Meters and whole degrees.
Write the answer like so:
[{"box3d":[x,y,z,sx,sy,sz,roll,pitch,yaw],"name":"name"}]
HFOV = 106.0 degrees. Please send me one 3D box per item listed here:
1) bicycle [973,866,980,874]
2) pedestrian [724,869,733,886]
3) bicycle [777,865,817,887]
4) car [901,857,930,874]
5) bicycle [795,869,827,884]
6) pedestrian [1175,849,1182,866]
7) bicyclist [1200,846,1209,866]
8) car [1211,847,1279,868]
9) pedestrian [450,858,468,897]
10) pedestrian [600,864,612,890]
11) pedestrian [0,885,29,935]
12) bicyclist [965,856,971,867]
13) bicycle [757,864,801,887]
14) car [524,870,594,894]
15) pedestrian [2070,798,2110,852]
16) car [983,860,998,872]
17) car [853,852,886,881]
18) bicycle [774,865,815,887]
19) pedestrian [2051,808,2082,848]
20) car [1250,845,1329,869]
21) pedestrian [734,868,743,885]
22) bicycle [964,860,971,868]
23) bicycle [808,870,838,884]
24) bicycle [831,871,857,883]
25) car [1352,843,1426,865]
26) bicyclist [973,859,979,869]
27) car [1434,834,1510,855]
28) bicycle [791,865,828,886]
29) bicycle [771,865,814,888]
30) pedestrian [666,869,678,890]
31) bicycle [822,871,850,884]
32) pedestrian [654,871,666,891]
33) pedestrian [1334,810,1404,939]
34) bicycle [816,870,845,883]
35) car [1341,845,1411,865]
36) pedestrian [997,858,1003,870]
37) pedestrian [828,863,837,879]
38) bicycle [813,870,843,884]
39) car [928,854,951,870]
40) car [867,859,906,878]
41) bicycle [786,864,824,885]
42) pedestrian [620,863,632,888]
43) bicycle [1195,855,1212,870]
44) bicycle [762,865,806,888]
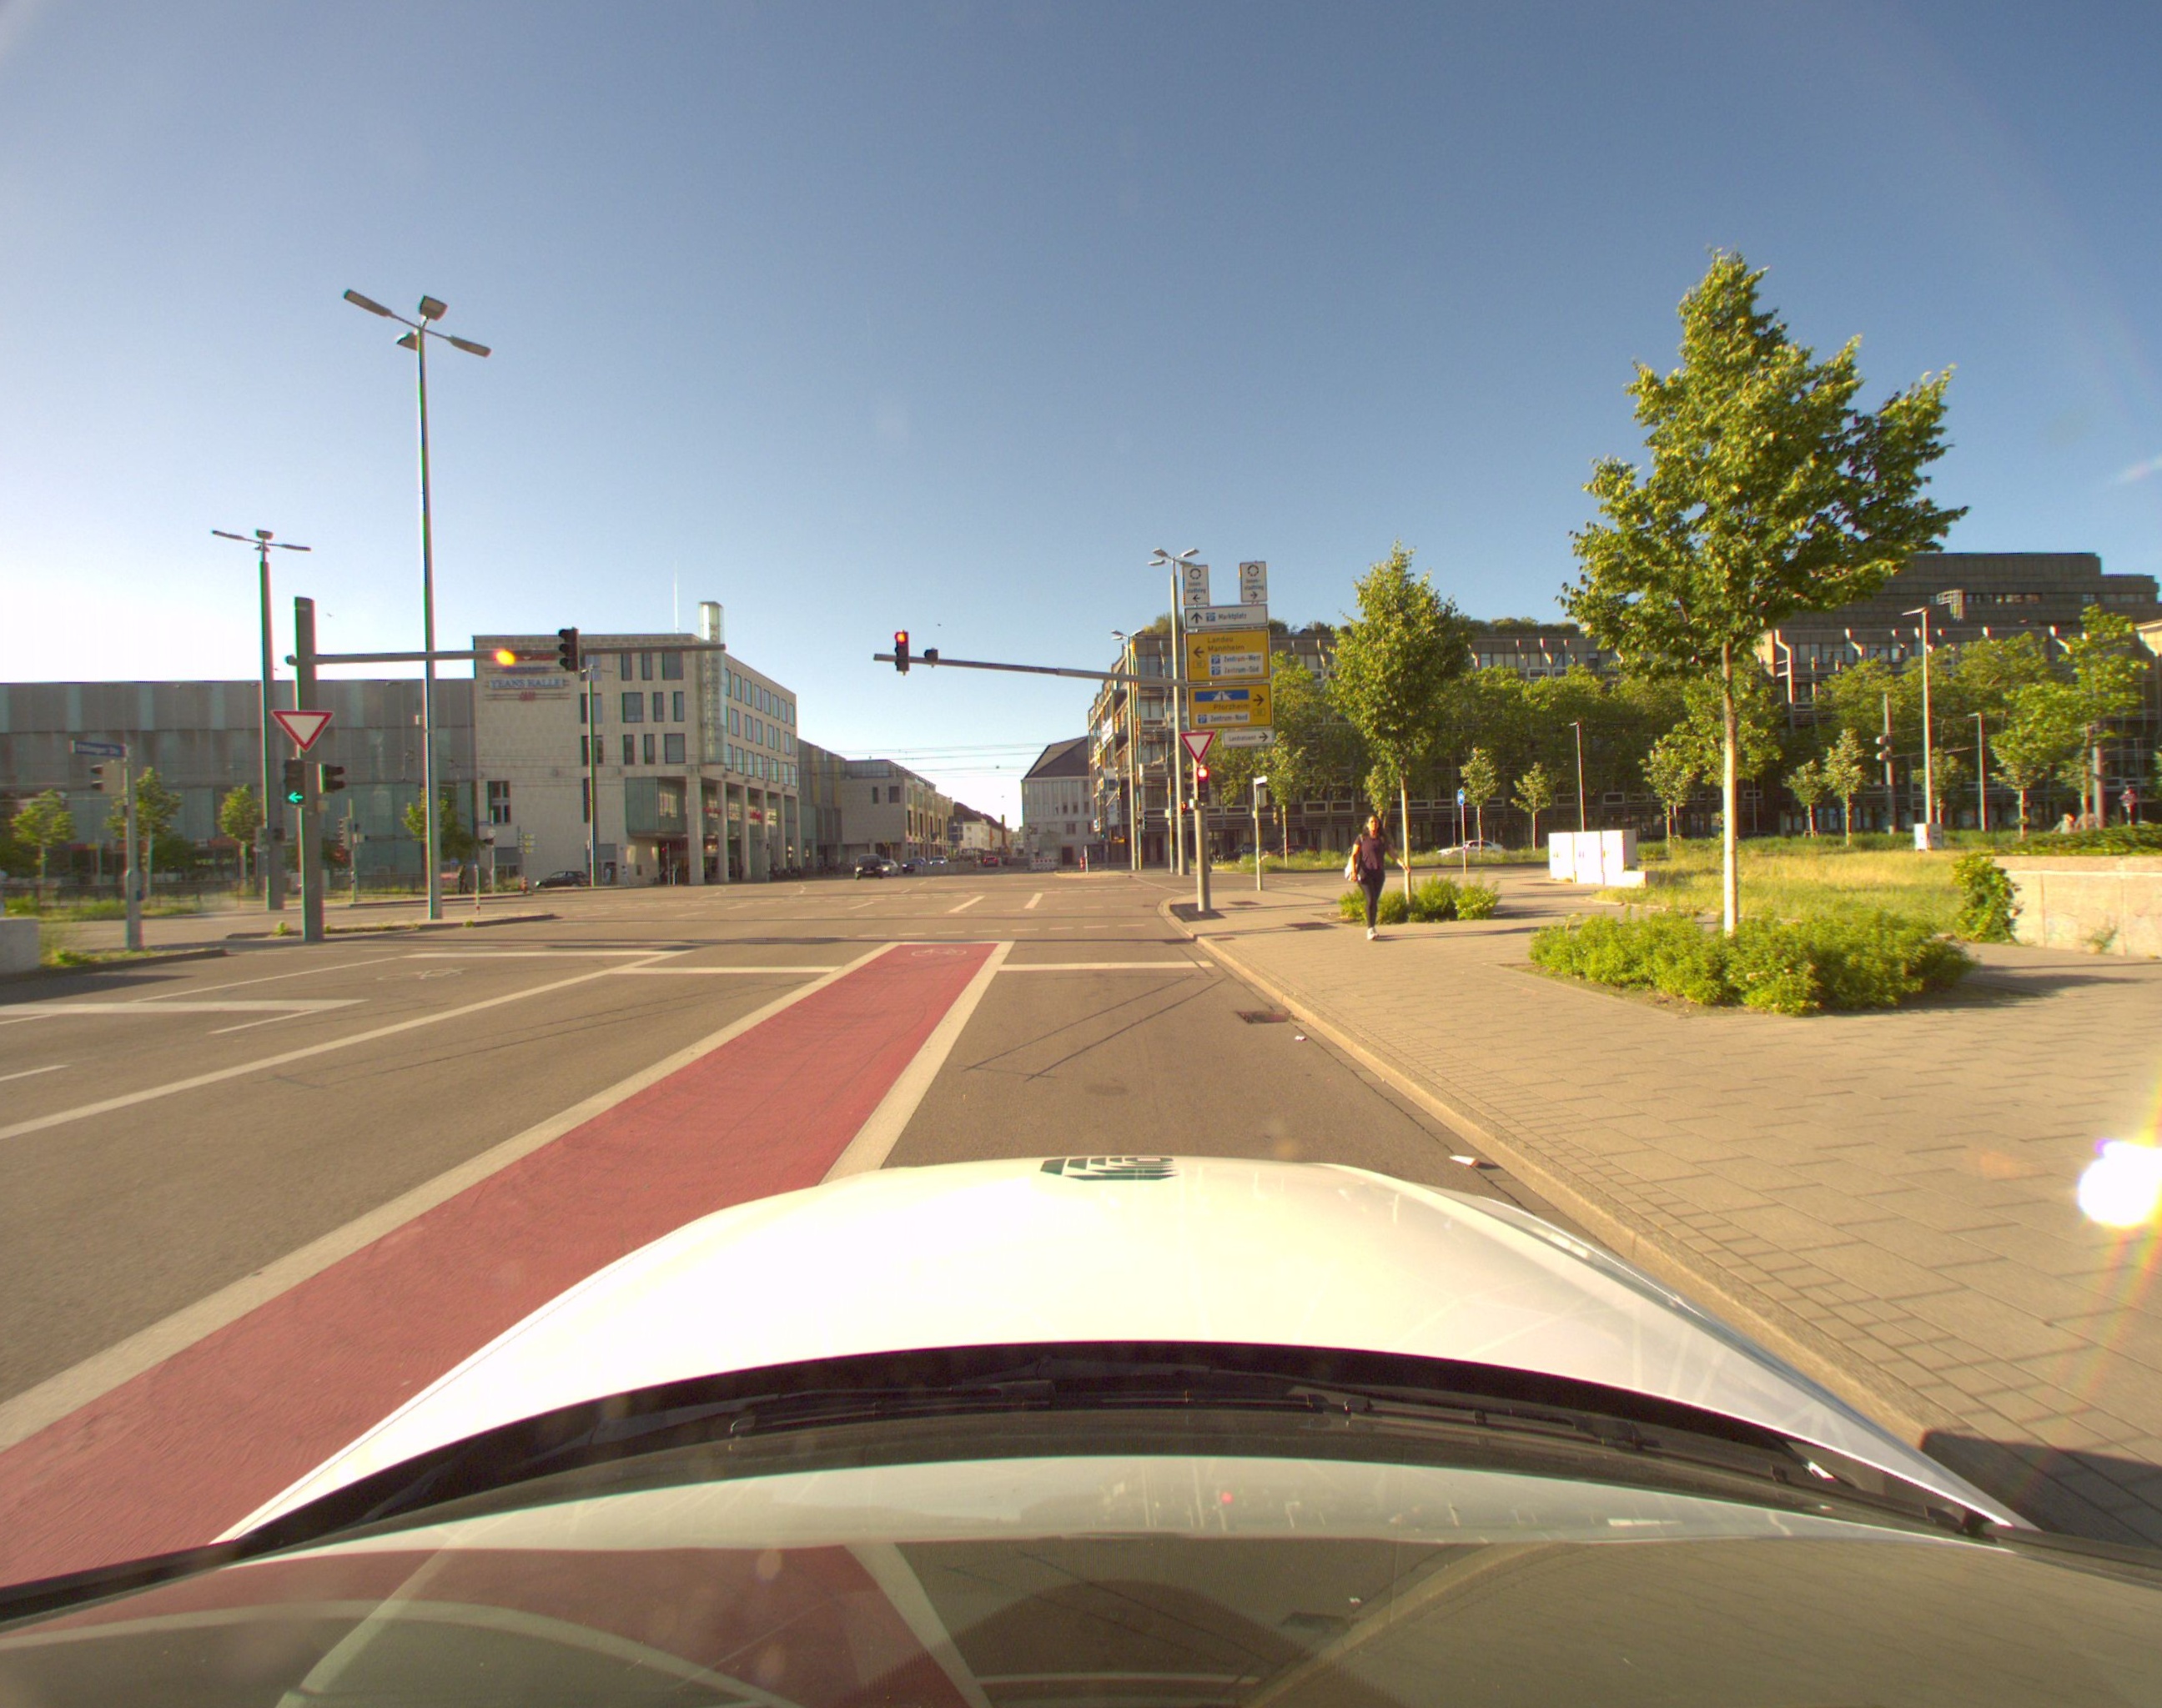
[{"box3d":[-14.683,2.252,114.573,0.739,1.046,2.428,-2,0,-3],"name":"bicycle"},{"box3d":[-33.550,2.221,77.420,0.627,1.608,0.646,-2,0,-36],"name":"pedestrian"},{"box3d":[-28.948,2.202,83.024,3.614,2.013,1.085,-3,0,-5],"name":"bicycle"},{"box3d":[-16.432,1.124,80.860,1.987,1.530,4.035,-2,0,0],"name":"car"},{"box3d":[-29.132,2.414,87.929,3.045,1.400,0.901,-3,0,-5],"name":"bicycle"},{"box3d":[8.746,0.342,73.047,0.619,1.519,0.655,-2,0,8],"name":"pedestrian"},{"box3d":[8.240,0.151,54.469,0.506,1.338,0.453,-2,0,2],"name":"bicyclist"},{"box3d":[12.314,0.275,61.175,4.622,1.356,1.997,-2,1,-4],"name":"car"},{"box3d":[-33.165,1.249,43.418,0.515,2.013,0.622,-2,0,-13],"name":"pedestrian"},{"box3d":[-38.091,1.845,65.321,0.622,2.013,0.514,-2,0,-9],"name":"pedestrian"},{"box3d":[-32.840,1.707,24.708,0.722,1.502,0.800,-2,0,-10],"name":"pedestrian"},{"box3d":[-15.802,1.061,113.860,0.744,1.461,0.766,-2,0,-3],"name":"bicyclist"},{"box3d":[-28.200,1.995,76.143,3.619,2.013,1.083,-3,0,-8],"name":"bicycle"},{"box3d":[-37.543,1.997,58.594,3.768,1.564,1.780,-2,0,-3],"name":"car"},{"box3d":[37.975,-1.080,30.657,0.618,2.013,0.680,-2,0,-8],"name":"pedestrian"},{"box3d":[-12.809,1.689,115.663,1.991,1.552,3.991,-2,0,-6],"name":"car"},{"box3d":[-14.345,0.792,55.227,1.997,1.742,4.623,-2,1,-15],"name":"car"},{"box3d":[-28.824,2.182,81.877,3.614,2.013,1.085,-3,0,-5],"name":"bicycle"},{"box3d":[39.535,-1.054,32.681,0.618,1.571,0.521,-2,0,-8],"name":"pedestrian"},{"box3d":[13.646,0.161,53.550,4.622,1.356,1.997,-2,1,-4],"name":"car"},{"box3d":[-32.917,2.140,78.208,0.627,1.608,0.646,-2,0,-36],"name":"pedestrian"},{"box3d":[-15.817,1.423,113.884,0.739,1.046,2.428,-2,0,-3],"name":"bicycle"},{"box3d":[-29.273,2.601,92.351,3.045,1.400,0.901,-3,0,-5],"name":"bicycle"},{"box3d":[-29.818,2.924,102.475,3.045,1.400,0.901,-3,0,-5],"name":"bicycle"},{"box3d":[22.236,-0.028,58.956,4.622,1.356,1.997,-2,1,-4],"name":"car"},{"box3d":[-14.737,1.420,114.569,0.744,1.461,0.766,-2,0,-3],"name":"bicyclist"},{"box3d":[28.444,-0.706,59.258,4.622,1.356,1.997,-2,1,-4],"name":"car"},{"box3d":[-28.982,2.274,86.955,3.614,2.013,0.901,-3,0,-5],"name":"bicycle"},{"box3d":[-27.950,2.188,78.942,3.614,2.013,1.085,-3,0,-5],"name":"bicycle"},{"box3d":[-32.823,2.059,65.384,0.621,1.608,0.653,-2,0,-1],"name":"pedestrian"},{"box3d":[-29.633,2.793,98.345,3.045,1.400,0.901,-3,0,-5],"name":"bicycle"},{"box3d":[-33.829,2.173,65.418,0.621,1.608,0.653,-2,0,-1],"name":"pedestrian"},{"box3d":[4.154,0.286,11.720,0.814,1.748,1.047,-3,-1,21],"name":"pedestrian"},{"box3d":[-29.440,2.653,95.649,3.045,1.400,0.901,-3,0,-5],"name":"bicycle"},{"box3d":[22.636,0.061,62.577,4.622,1.356,1.997,-2,1,-4],"name":"car"},{"box3d":[-11.575,1.471,116.086,0.713,1.668,0.986,-2,0,-4],"name":"pedestrian"},{"box3d":[-26.847,1.827,87.895,0.746,1.608,0.619,-2,0,-28],"name":"pedestrian"},{"box3d":[-29.266,2.650,94.238,3.045,1.400,0.901,-3,0,-5],"name":"bicycle"},{"box3d":[-16.511,0.918,95.263,1.988,1.623,4.236,-2,0,-1],"name":"car"},{"box3d":[-16.721,1.225,70.155,1.985,1.356,4.650,-2,1,3],"name":"car"},{"box3d":[-28.846,2.173,85.115,3.614,2.013,0.901,-3,0,-5],"name":"bicycle"},{"box3d":[-37.445,1.774,67.027,0.622,2.013,0.514,-2,0,-9],"name":"pedestrian"},{"box3d":[8.203,0.590,54.463,1.072,0.971,0.458,-2,0,1],"name":"bicycle"},{"box3d":[-28.240,2.144,77.479,3.614,2.013,1.085,-3,0,-5],"name":"bicycle"}]
